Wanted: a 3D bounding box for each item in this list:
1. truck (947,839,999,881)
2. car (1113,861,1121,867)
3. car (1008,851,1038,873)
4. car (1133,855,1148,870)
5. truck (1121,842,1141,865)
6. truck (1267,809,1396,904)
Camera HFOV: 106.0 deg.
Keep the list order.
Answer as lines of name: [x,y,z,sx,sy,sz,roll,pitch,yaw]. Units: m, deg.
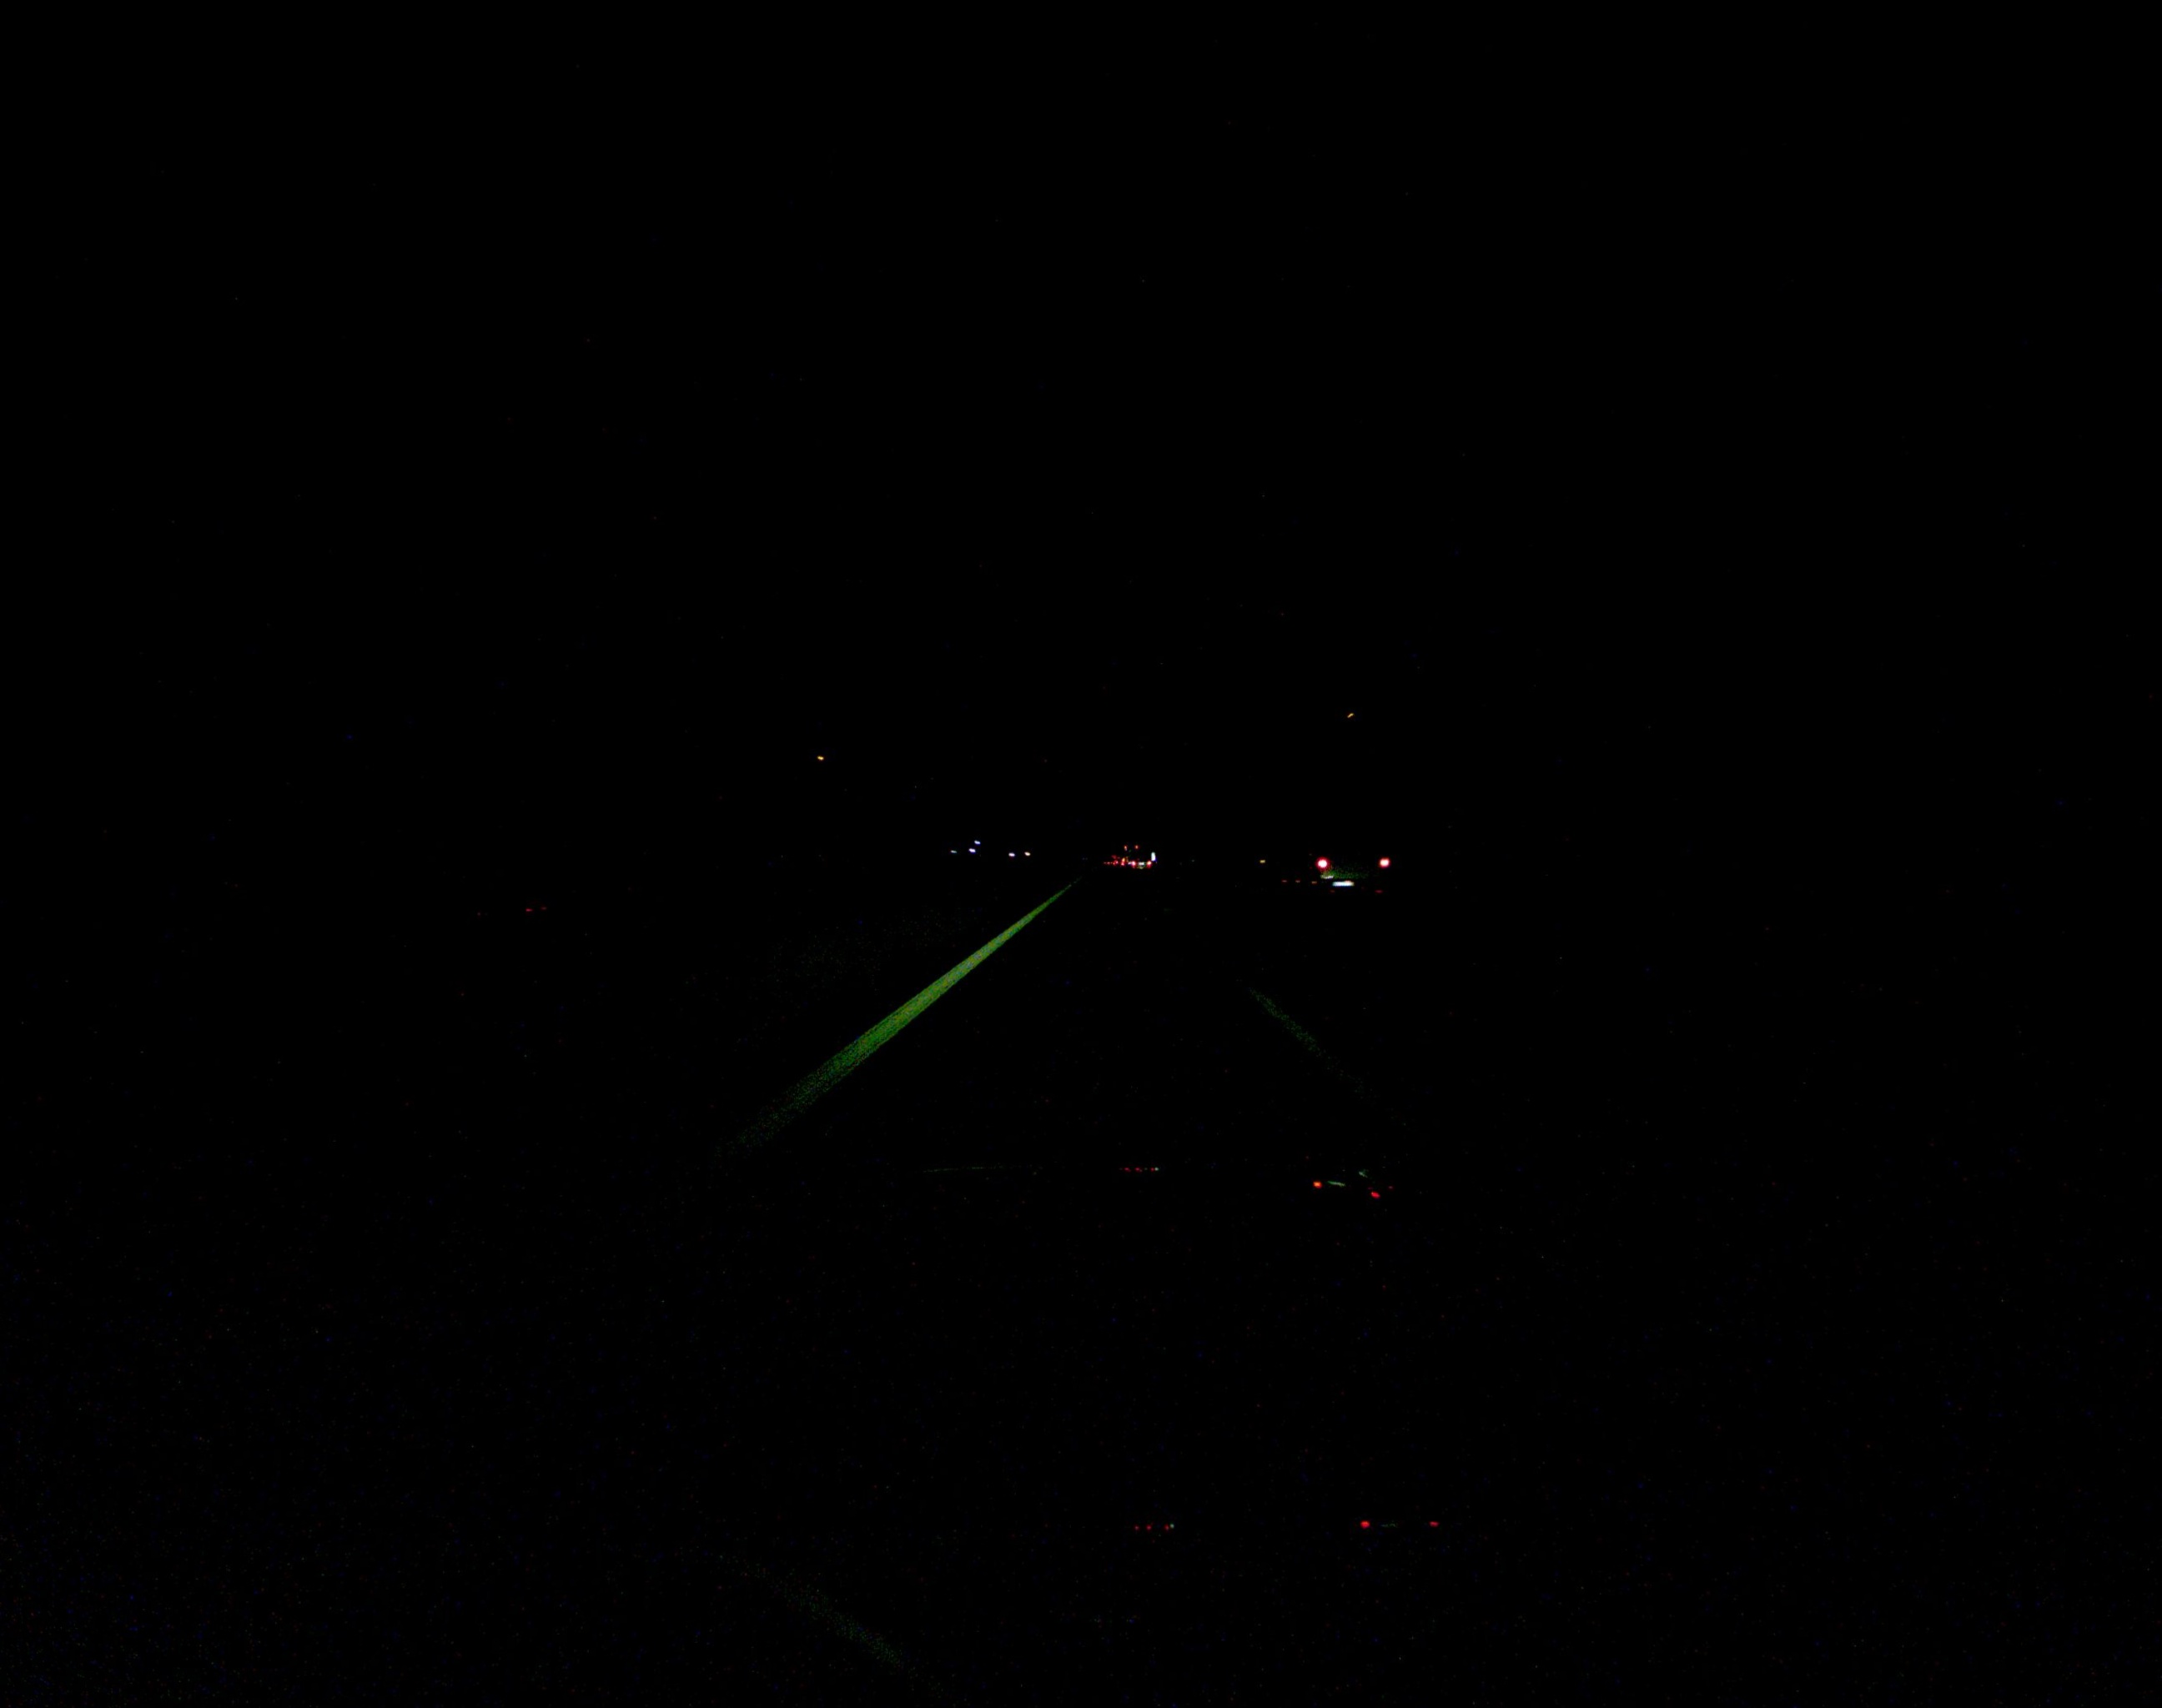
truck: [-12.619,0.485,97.280,3.234,4.488,17.448,0,1,2]
car: [8.526,2.332,192.281,1.813,1.466,4.251,0,1,3]
car: [-5.766,0.772,81.288,2.200,2.013,6.948,0,1,2]
car: [5.779,0.819,78.928,1.340,1.387,3.504,0,1,3]
truck: [7.807,-0.168,128.031,3.032,3.324,10.149,0,1,3]
truck: [7.931,0.122,26.756,2.069,2.691,7.308,0,-1,1]
